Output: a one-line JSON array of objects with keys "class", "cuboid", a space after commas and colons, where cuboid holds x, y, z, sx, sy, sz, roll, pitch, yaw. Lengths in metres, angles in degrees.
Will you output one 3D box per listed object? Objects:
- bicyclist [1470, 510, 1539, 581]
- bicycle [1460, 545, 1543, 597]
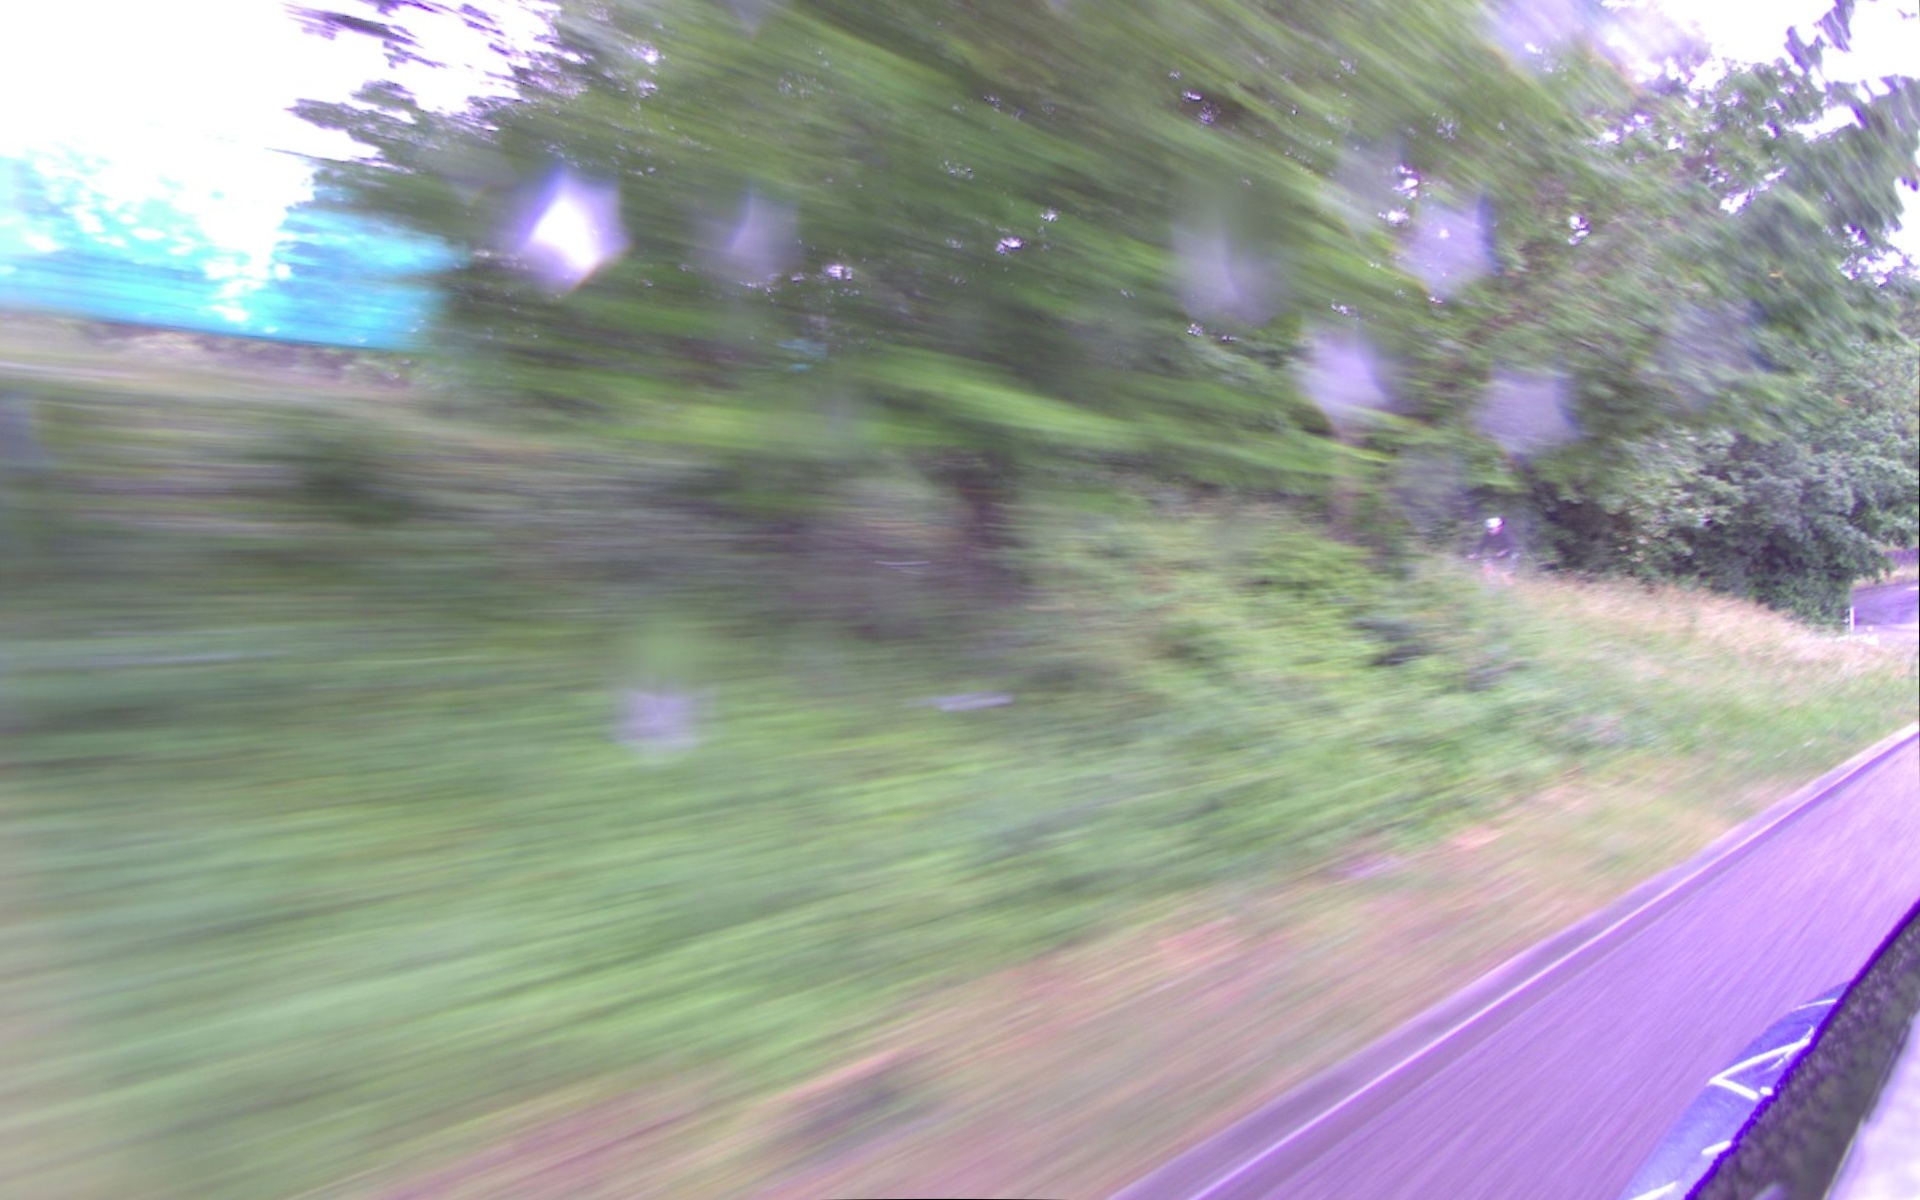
[{"class": "bicyclist", "cuboid": [9.868, -0.971, 18.358, 0.795, 1.242, 0.791, 0, 0, -26]}, {"class": "bicycle", "cuboid": [9.814, -0.514, 18.318, 1.662, 0.901, 0.437, 0, 0, -26]}]
